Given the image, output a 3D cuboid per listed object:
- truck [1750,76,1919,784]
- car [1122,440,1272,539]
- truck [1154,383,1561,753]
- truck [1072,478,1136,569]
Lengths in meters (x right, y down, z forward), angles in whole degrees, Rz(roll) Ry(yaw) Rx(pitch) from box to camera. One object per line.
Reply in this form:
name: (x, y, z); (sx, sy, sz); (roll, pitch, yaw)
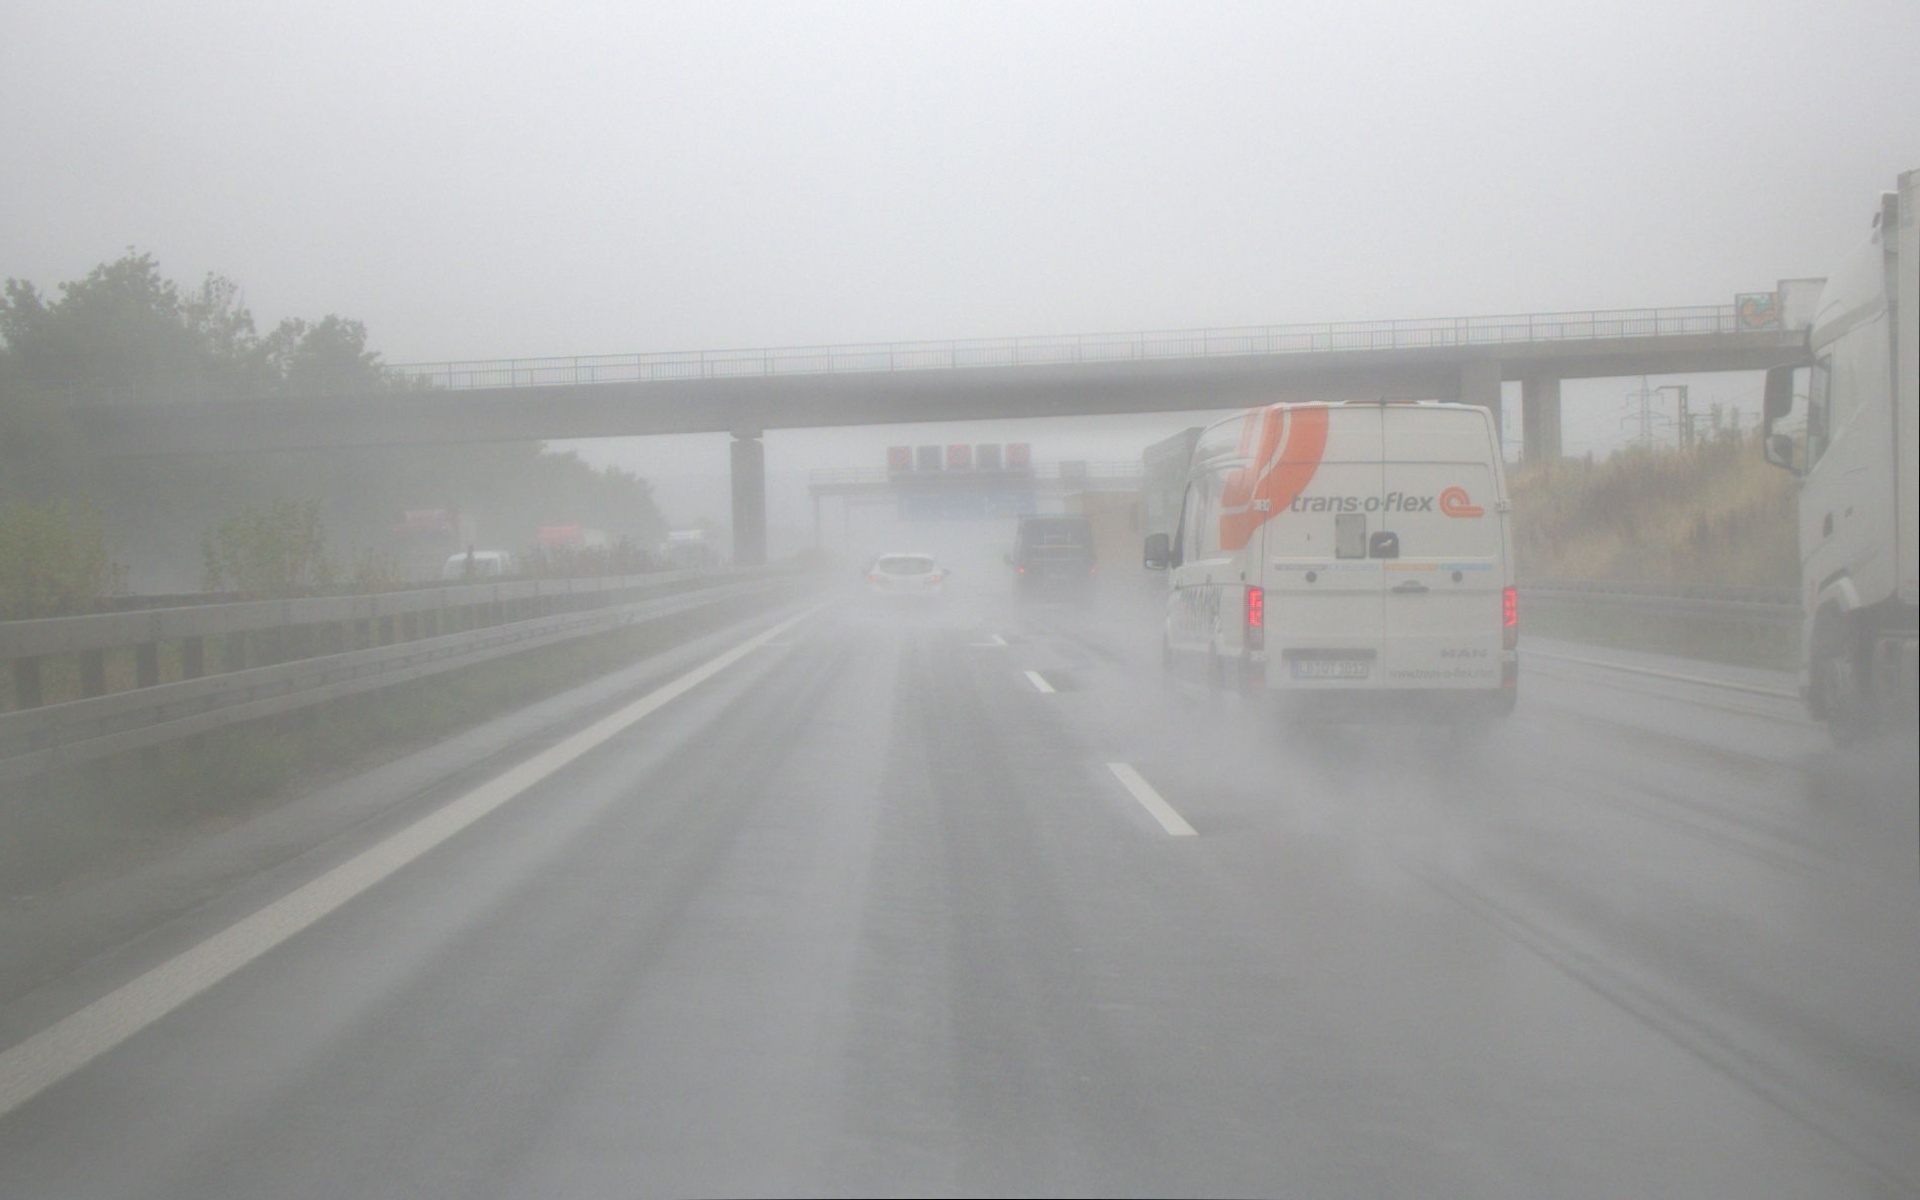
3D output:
truck: (7.809, -0.992, 18.240); (3.039, 4.572, 16.353); (1, 1, -1)
car: (5.038, -2.394, 73.820); (2.788, 2.006, 4.994); (1, 2, -1)
truck: (2.844, -0.327, 26.055); (2.419, 2.484, 5.560); (1, 2, 0)
truck: (5.709, -3.091, 136.800); (2.109, 3.504, 5.249); (0, 2, -2)
